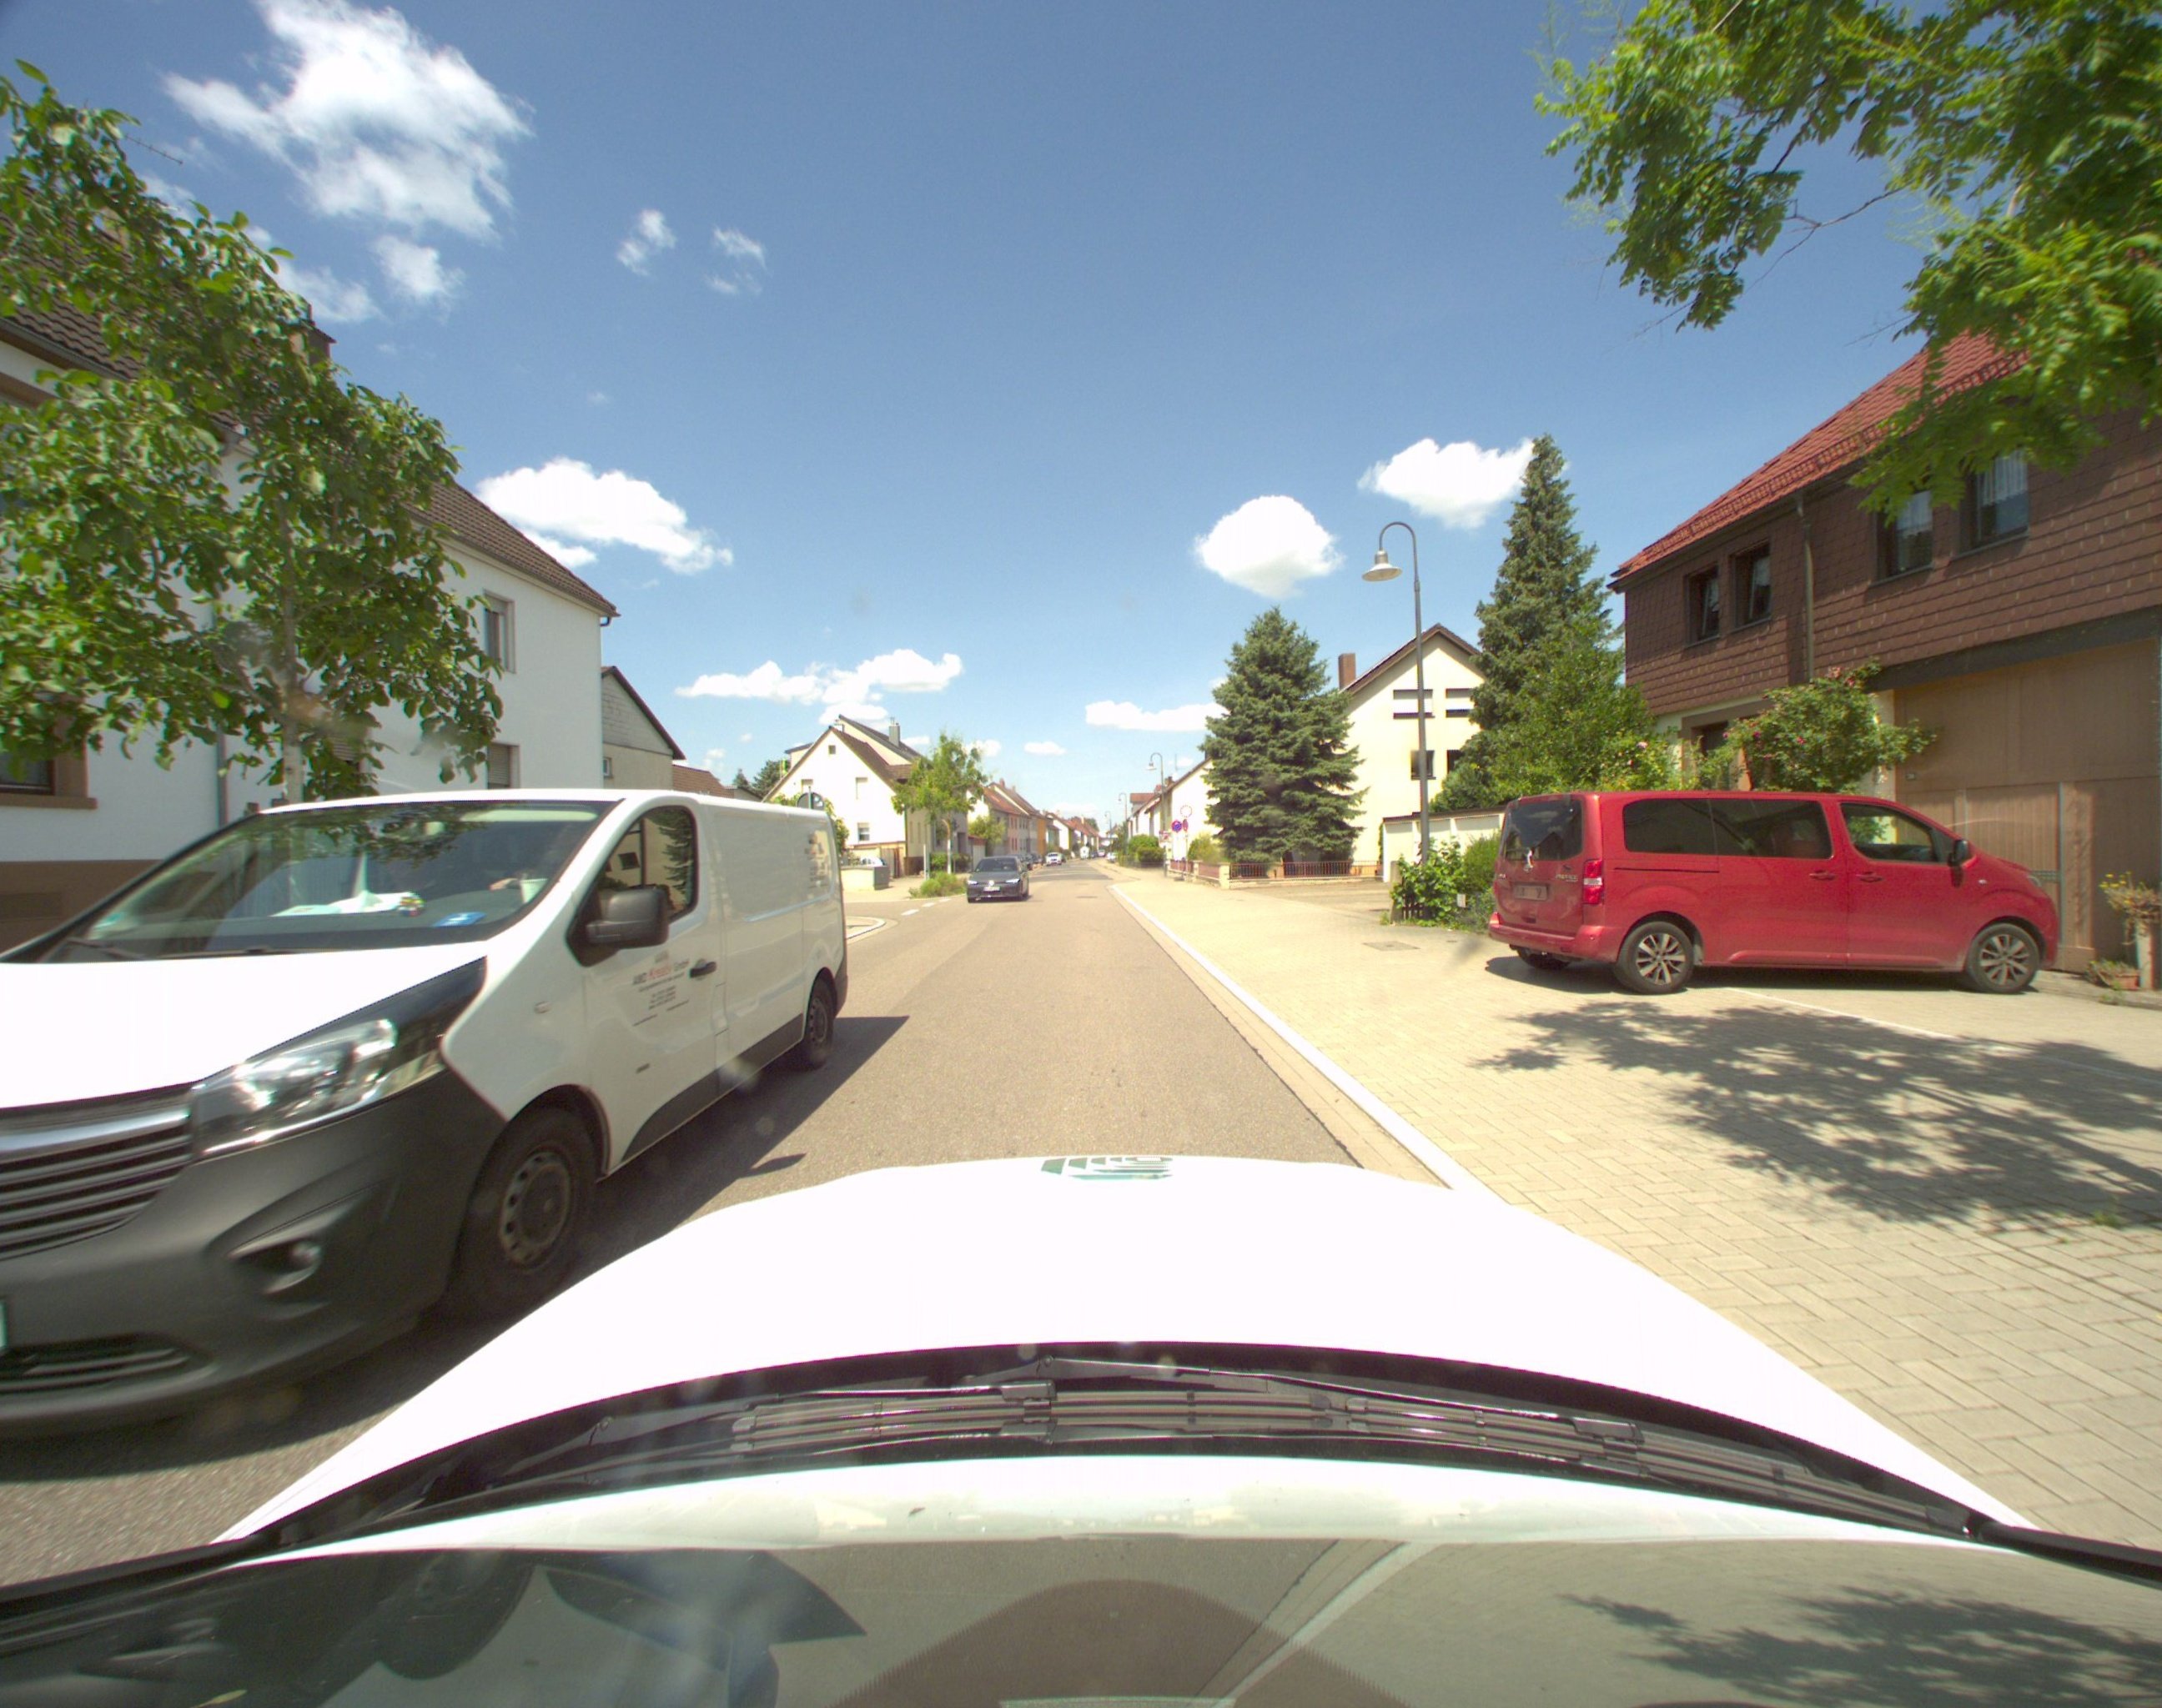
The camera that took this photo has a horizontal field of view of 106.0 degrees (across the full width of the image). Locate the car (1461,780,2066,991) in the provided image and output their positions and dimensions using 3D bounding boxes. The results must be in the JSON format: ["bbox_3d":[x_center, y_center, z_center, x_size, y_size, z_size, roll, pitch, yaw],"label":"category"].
[{"bbox_3d":[6.682,0.290,8.387,4.606,1.893,2.019,0,-1,-2],"label":"car"}]

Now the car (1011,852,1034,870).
[{"bbox_3d":[-5.573,0.651,78.016,1.773,1.609,4.000,1,0,0],"label":"car"}]

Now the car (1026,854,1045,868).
[{"bbox_3d":[-5.167,0.763,92.800,1.805,1.609,4.000,1,0,0],"label":"car"}]

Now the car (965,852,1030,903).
[{"bbox_3d":[-2.747,0.744,27.568,1.758,1.523,4.047,-3,0,-1],"label":"car"}]

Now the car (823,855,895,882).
[{"bbox_3d":[-12.503,0.827,46.091,3.509,1.471,1.794,0,0,4],"label":"car"}]

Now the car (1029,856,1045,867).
[{"bbox_3d":[-5.656,0.953,104.964,1.665,1.336,3.725,1,0,3],"label":"car"}]

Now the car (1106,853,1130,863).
[{"bbox_3d":[5.517,0.640,121.909,3.512,1.464,1.628,0,-1,0],"label":"car"}]

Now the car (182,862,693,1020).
[{"bbox_3d":[-6.901,0.881,9.151,4.175,1.569,1.771,0,-1,-4],"label":"car"}]

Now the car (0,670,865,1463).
[{"bbox_3d":[-2.840,0.561,4.473,2.017,1.950,4.896,-2,-1,-1],"label":"car"}]

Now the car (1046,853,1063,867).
[{"bbox_3d":[-3.459,0.778,105.970,1.842,1.659,4.003,1,0,3],"label":"car"}]

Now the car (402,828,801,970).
[{"bbox_3d":[-6.836,0.622,12.032,4.686,1.923,1.937,0,-1,-1],"label":"car"}]

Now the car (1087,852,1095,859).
[{"bbox_3d":[2.417,0.366,197.934,1.684,1.504,3.775,0,-1,4],"label":"car"}]

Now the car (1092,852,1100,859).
[{"bbox_3d":[3.742,0.445,205.419,1.684,1.660,3.775,0,-1,4],"label":"car"}]

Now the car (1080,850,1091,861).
[{"bbox_3d":[0.969,0.248,175.780,2.036,2.312,3.775,0,-1,4],"label":"car"}]

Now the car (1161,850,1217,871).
[{"bbox_3d":[8.139,0.476,61.776,3.974,1.473,1.746,-2,0,0],"label":"car"}]
